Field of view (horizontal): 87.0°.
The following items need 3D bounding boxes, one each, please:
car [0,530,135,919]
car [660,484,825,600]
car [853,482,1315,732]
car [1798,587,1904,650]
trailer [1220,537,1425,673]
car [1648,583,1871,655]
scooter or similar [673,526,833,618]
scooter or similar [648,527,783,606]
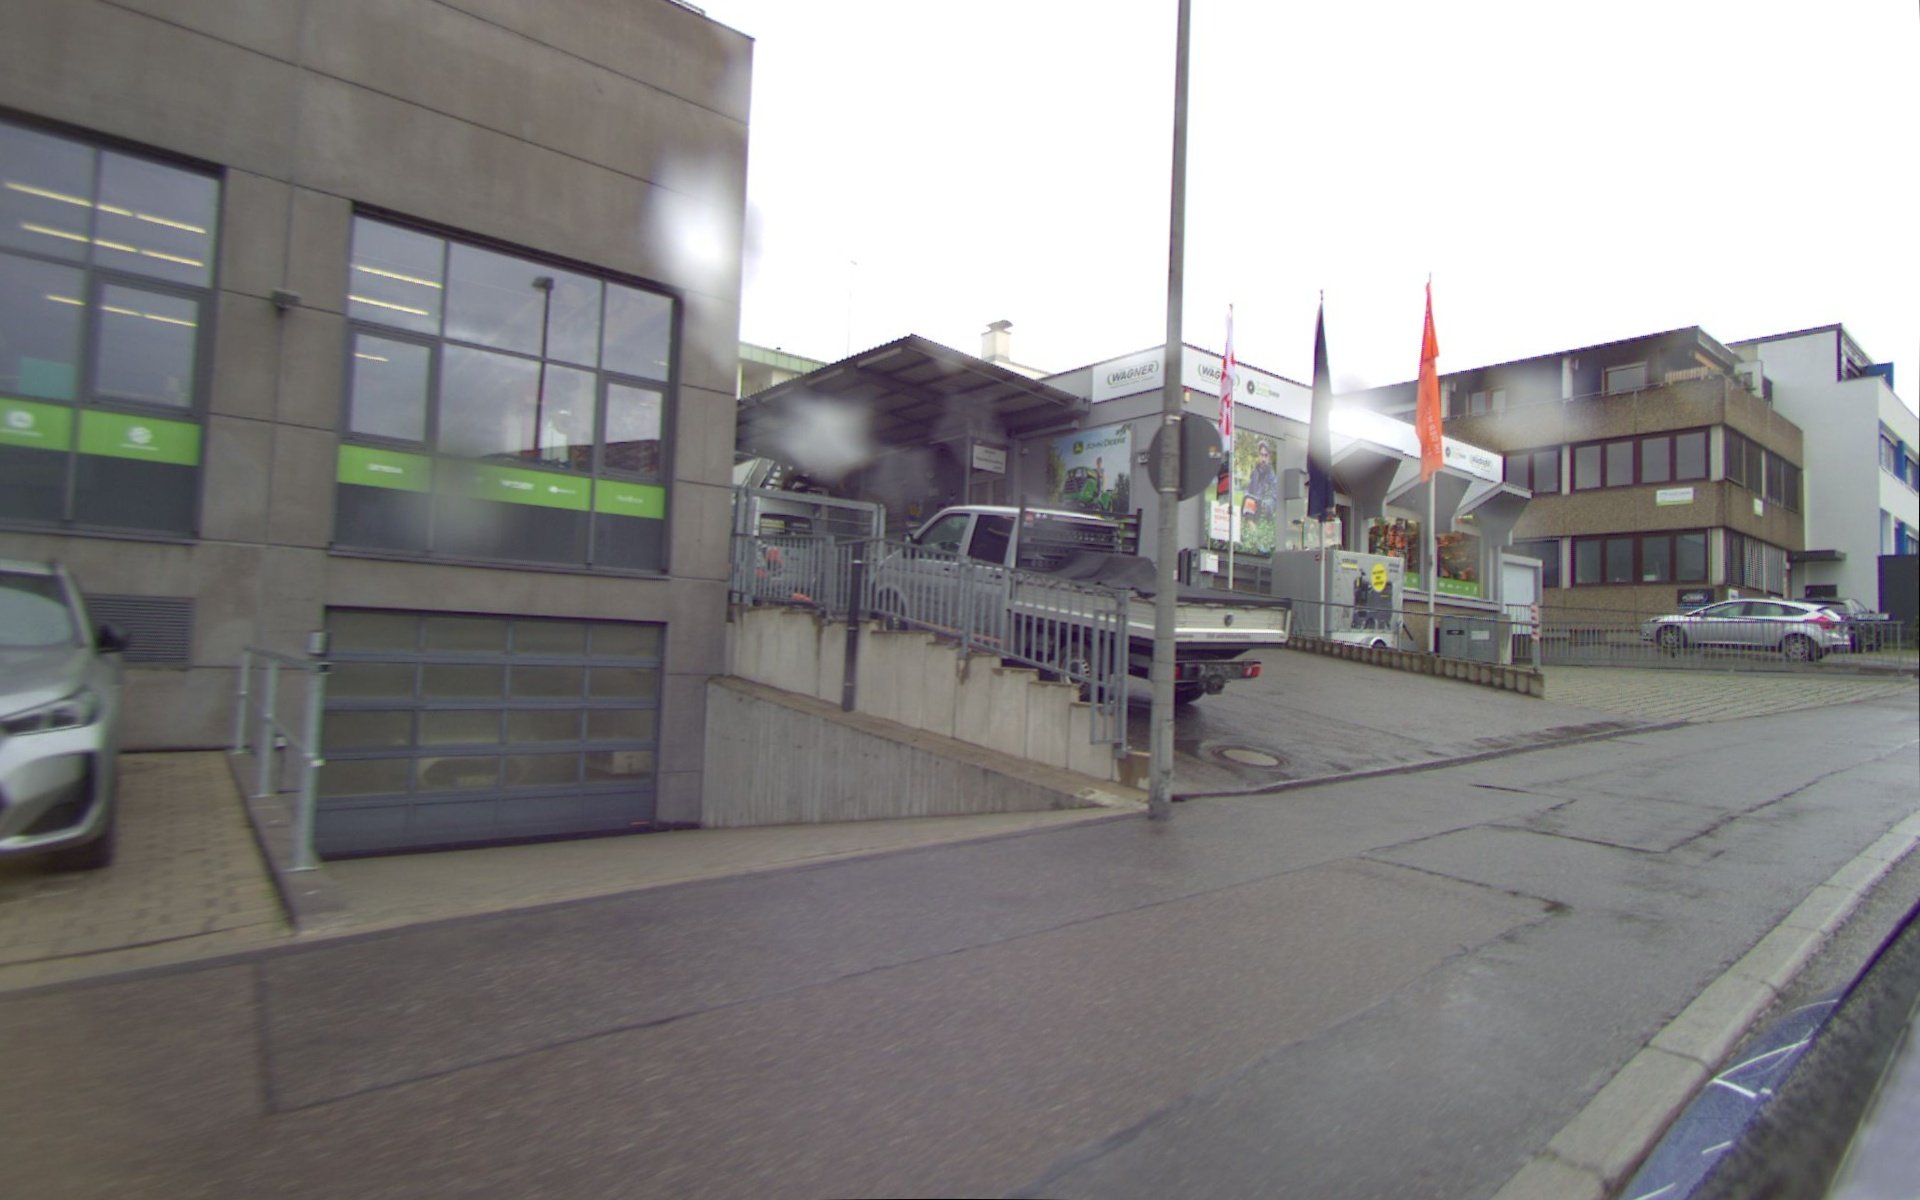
[{"bbox_3d":[-6.050,0.496,5.889,1.890,1.634,5.102,1,0,-39],"label":"car"},{"bbox_3d":[-5.817,-1.360,26.561,1.963,2.654,5.403,3,-2,-38],"label":"car"},{"bbox_3d":[1.089,-0.177,11.811,2.180,2.036,5.321,0,8,-36],"label":"car"},{"bbox_3d":[27.435,0.510,31.118,4.393,1.772,1.752,-1,0,-39],"label":"car"},{"bbox_3d":[7.298,0.129,20.225,4.228,2.448,1.891,1,-1,-38],"label":"trailer"},{"bbox_3d":[20.335,0.403,25.879,1.968,1.593,4.131,-1,2,-39],"label":"car"},{"bbox_3d":[-3.064,-0.410,15.053,2.025,1.240,1.068,2,2,-36],"label":"scooter or similar"},{"bbox_3d":[-3.855,-0.516,15.983,1.810,1.169,1.007,0,3,-36],"label":"scooter or similar"}]
